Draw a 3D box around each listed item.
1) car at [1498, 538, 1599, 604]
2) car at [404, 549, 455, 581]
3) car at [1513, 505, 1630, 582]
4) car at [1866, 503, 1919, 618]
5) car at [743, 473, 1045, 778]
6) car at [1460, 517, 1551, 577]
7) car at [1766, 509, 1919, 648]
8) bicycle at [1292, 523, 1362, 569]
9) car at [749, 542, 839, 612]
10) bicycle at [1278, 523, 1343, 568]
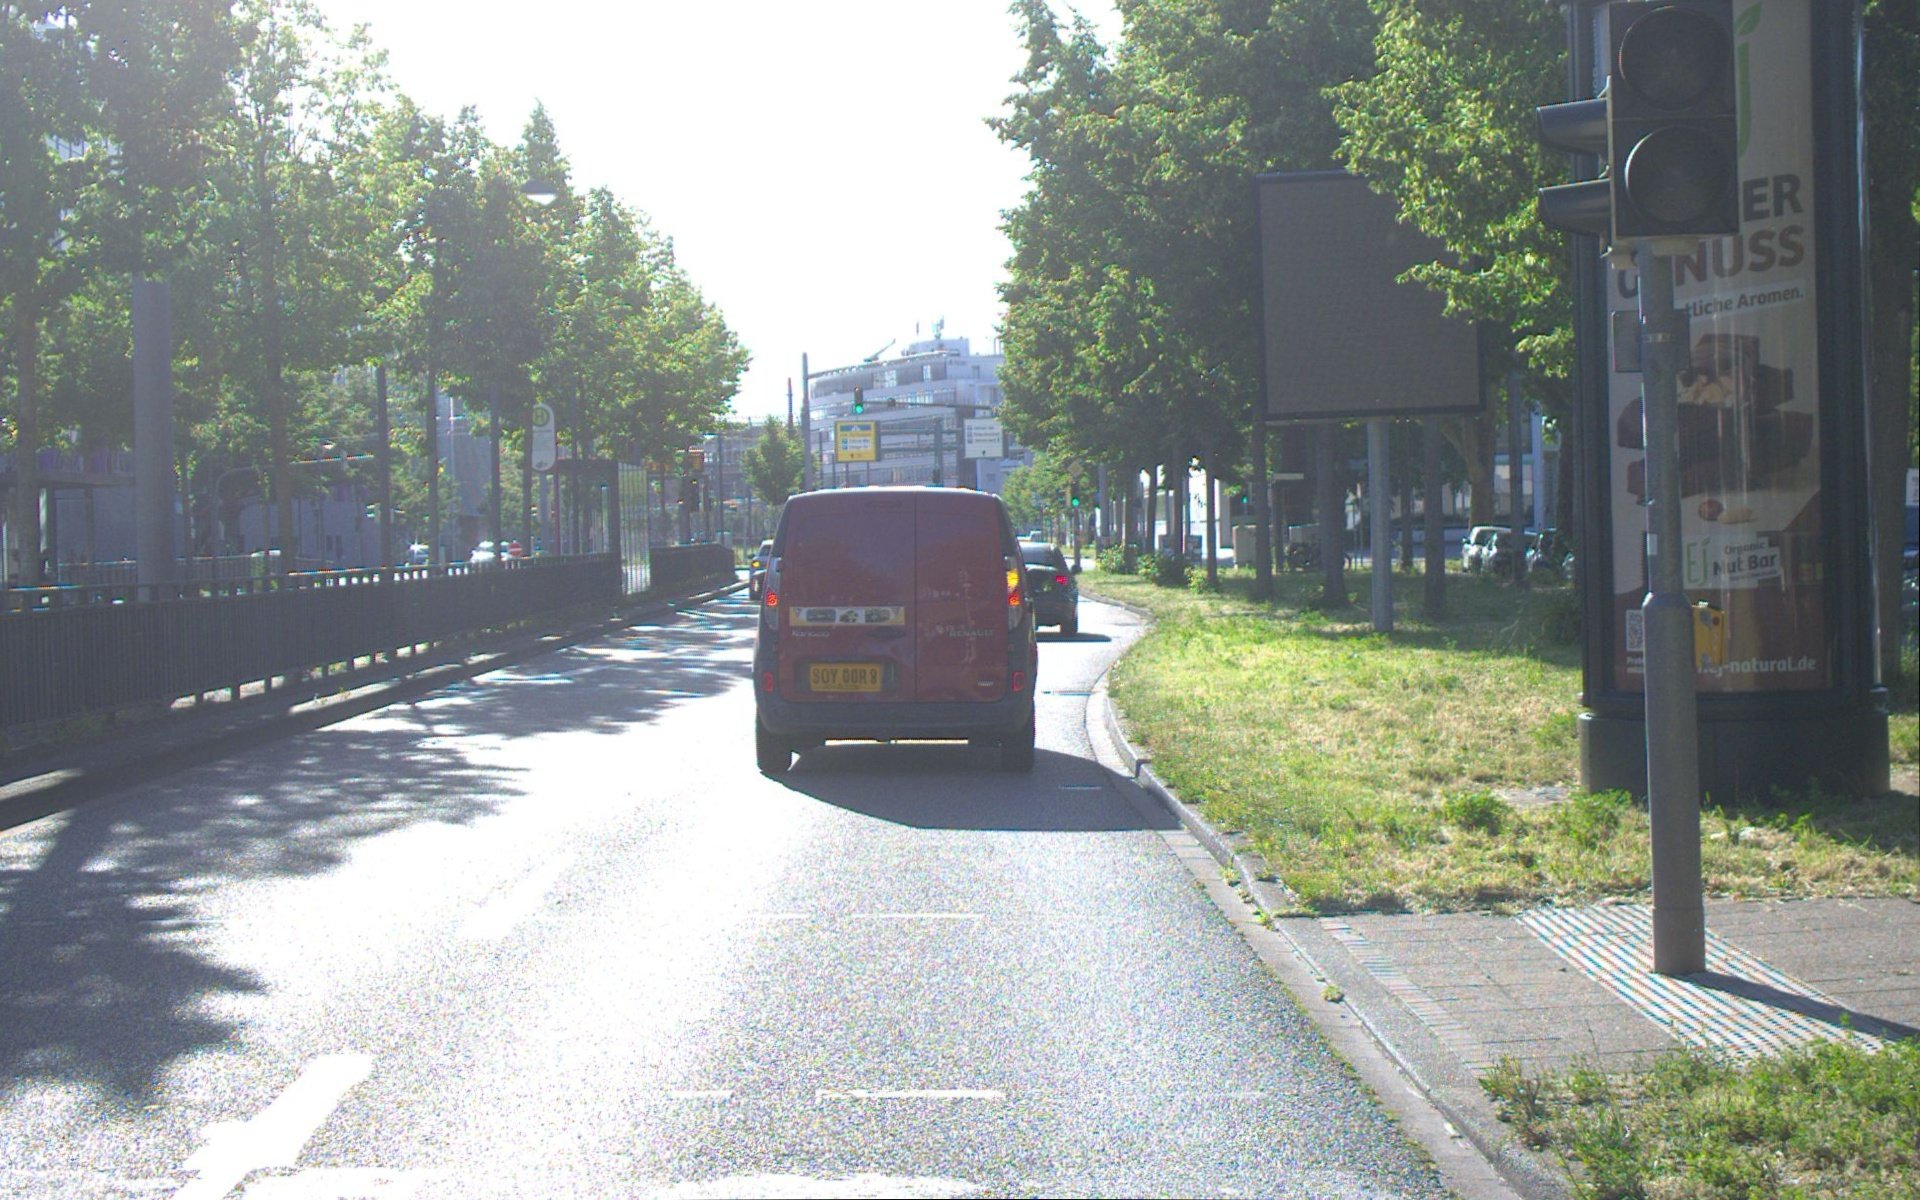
[{"bbox_3d":[15.485,-0.775,90.653,1.871,1.678,4.000,0,1,-2],"label":"car"},{"bbox_3d":[-29.542,-1.944,191.558,1.994,1.758,4.000,0,1,4],"label":"car"},{"bbox_3d":[14.237,-1.302,80.188,1.871,1.678,4.000,-2,1,-2],"label":"car"},{"bbox_3d":[12.569,-0.477,42.023,1.871,1.384,4.000,0,1,-1],"label":"car"},{"bbox_3d":[-0.515,0.133,22.764,1.808,1.831,4.001,0,1,-3],"label":"car"},{"bbox_3d":[15.763,-1.519,99.527,1.871,1.678,4.000,0,1,-2],"label":"car"},{"bbox_3d":[12.713,-0.306,47.632,1.871,1.814,4.893,0,1,-1],"label":"car"},{"bbox_3d":[10.285,-1.519,96.318,1.918,1.264,0.479,-1,1,1],"label":"bicycle"},{"bbox_3d":[-3.984,-0.566,82.929,1.993,1.612,4.000,0,1,0],"label":"car"},{"bbox_3d":[9.895,-1.537,97.058,1.778,1.264,0.479,0,0,1],"label":"bicycle"}]
